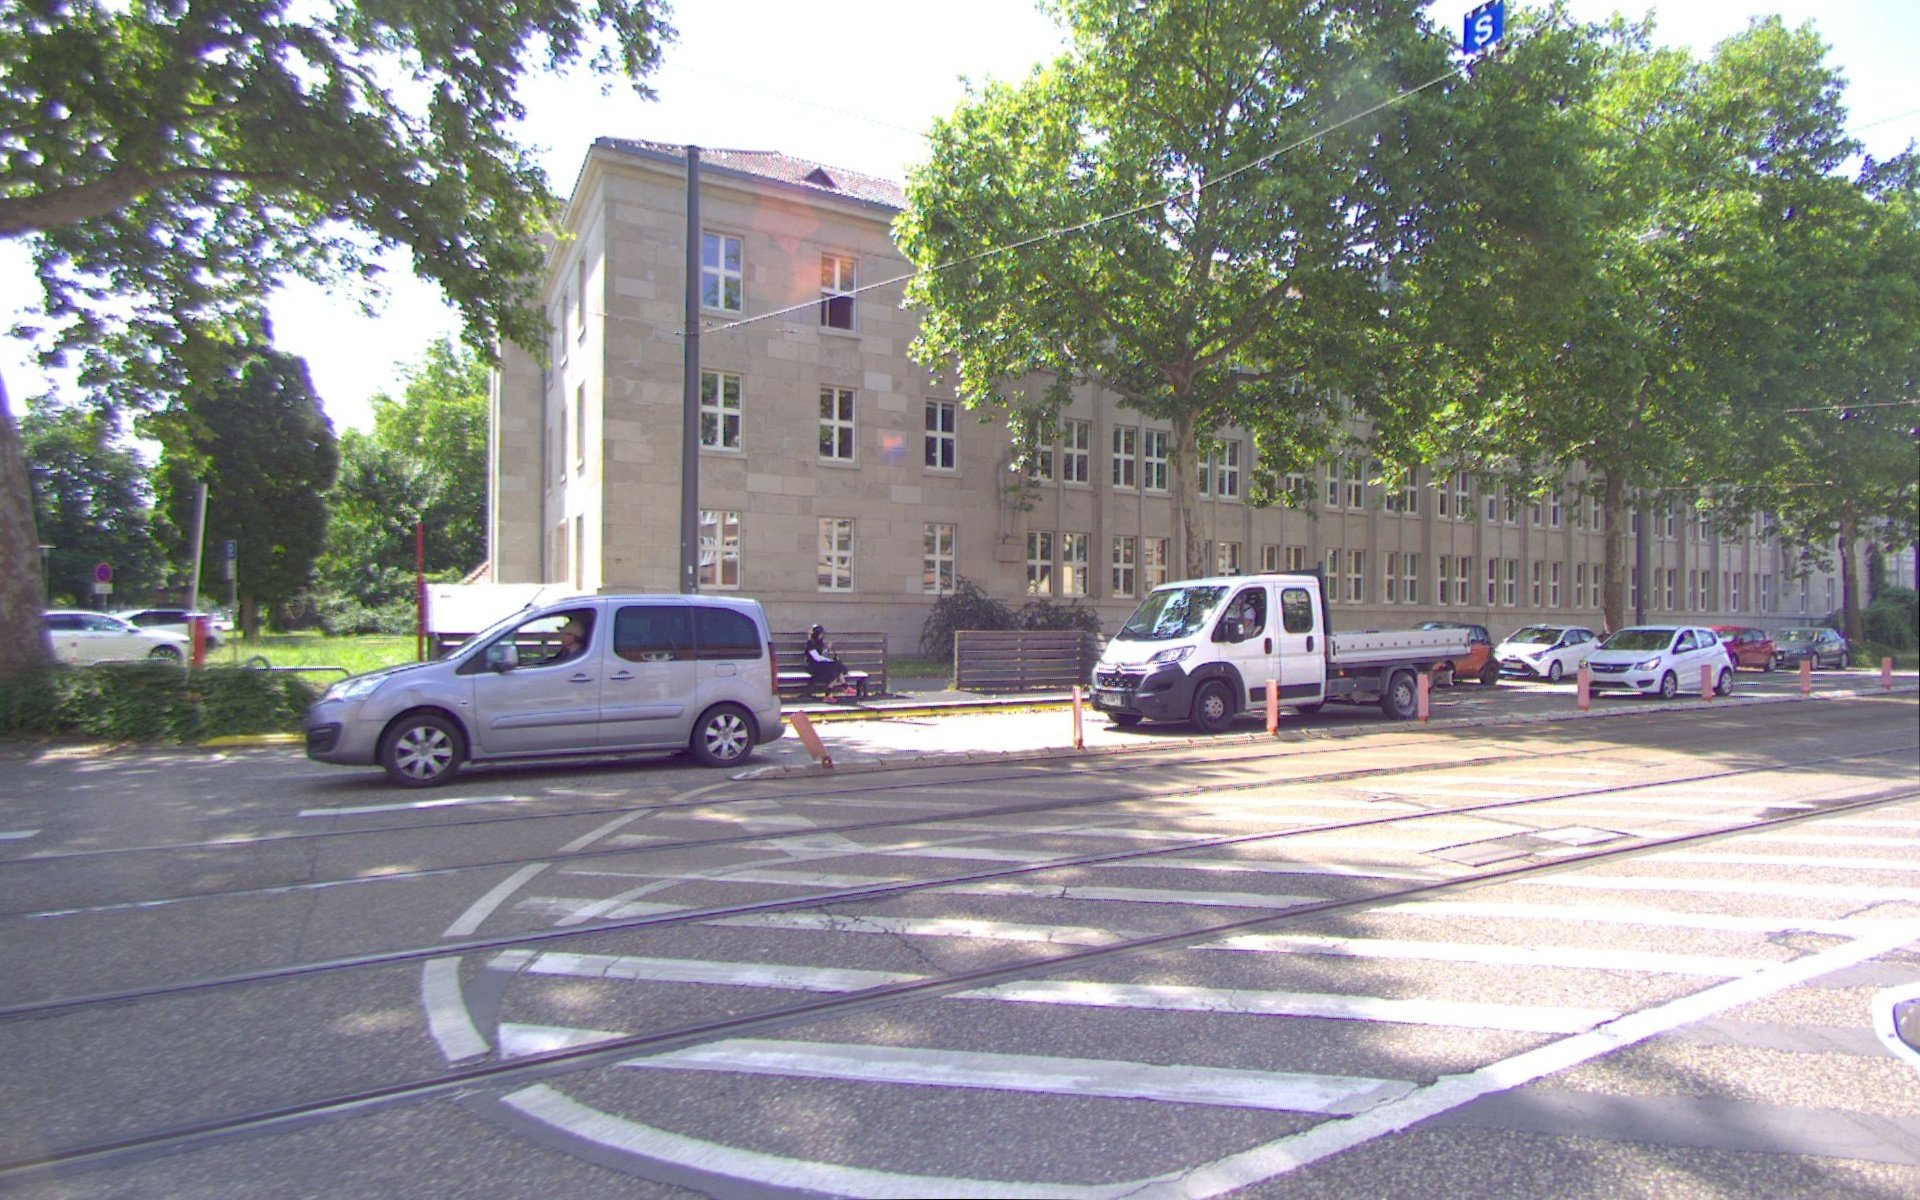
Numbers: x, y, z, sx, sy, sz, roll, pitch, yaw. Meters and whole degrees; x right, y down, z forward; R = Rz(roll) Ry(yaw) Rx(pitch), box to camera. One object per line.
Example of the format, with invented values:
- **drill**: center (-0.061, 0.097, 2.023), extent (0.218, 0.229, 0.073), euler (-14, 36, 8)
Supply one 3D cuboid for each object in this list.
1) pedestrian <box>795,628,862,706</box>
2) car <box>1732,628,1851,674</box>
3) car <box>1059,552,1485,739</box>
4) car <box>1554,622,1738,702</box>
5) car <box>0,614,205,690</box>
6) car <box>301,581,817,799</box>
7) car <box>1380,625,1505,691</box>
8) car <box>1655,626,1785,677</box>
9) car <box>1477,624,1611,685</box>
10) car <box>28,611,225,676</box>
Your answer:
- **pedestrian**: center (-2.258, 1.136, 17.203), extent (0.901, 1.228, 0.752), euler (1, 4, -27)
- **car**: center (28.855, 1.711, 34.839), extent (4.268, 1.387, 1.916), euler (0, 1, -32)
- **car**: center (5.003, 0.677, 15.631), extent (6.897, 2.405, 2.246), euler (1, -2, -30)
- **car**: center (14.391, 1.246, 21.052), extent (3.743, 1.499, 1.752), euler (0, -2, -31)
- **car**: center (-20.523, 1.154, 23.385), extent (1.730, 1.629, 4.402), euler (0, -1, 30)
- **car**: center (-3.896, 0.824, 10.157), extent (4.484, 1.768, 1.912), euler (1, -3, -31)
- **car**: center (12.014, 1.402, 24.978), extent (2.850, 1.473, 1.479), euler (0, 1, -32)
- **car**: center (24.622, 1.634, 32.538), extent (4.001, 1.439, 1.917), euler (0, 1, -29)
- **car**: center (15.916, 1.432, 27.360), extent (3.452, 1.473, 1.737), euler (0, 1, -32)
- **car**: center (-23.817, 1.196, 28.863), extent (1.728, 1.716, 3.996), euler (0, -1, 26)
